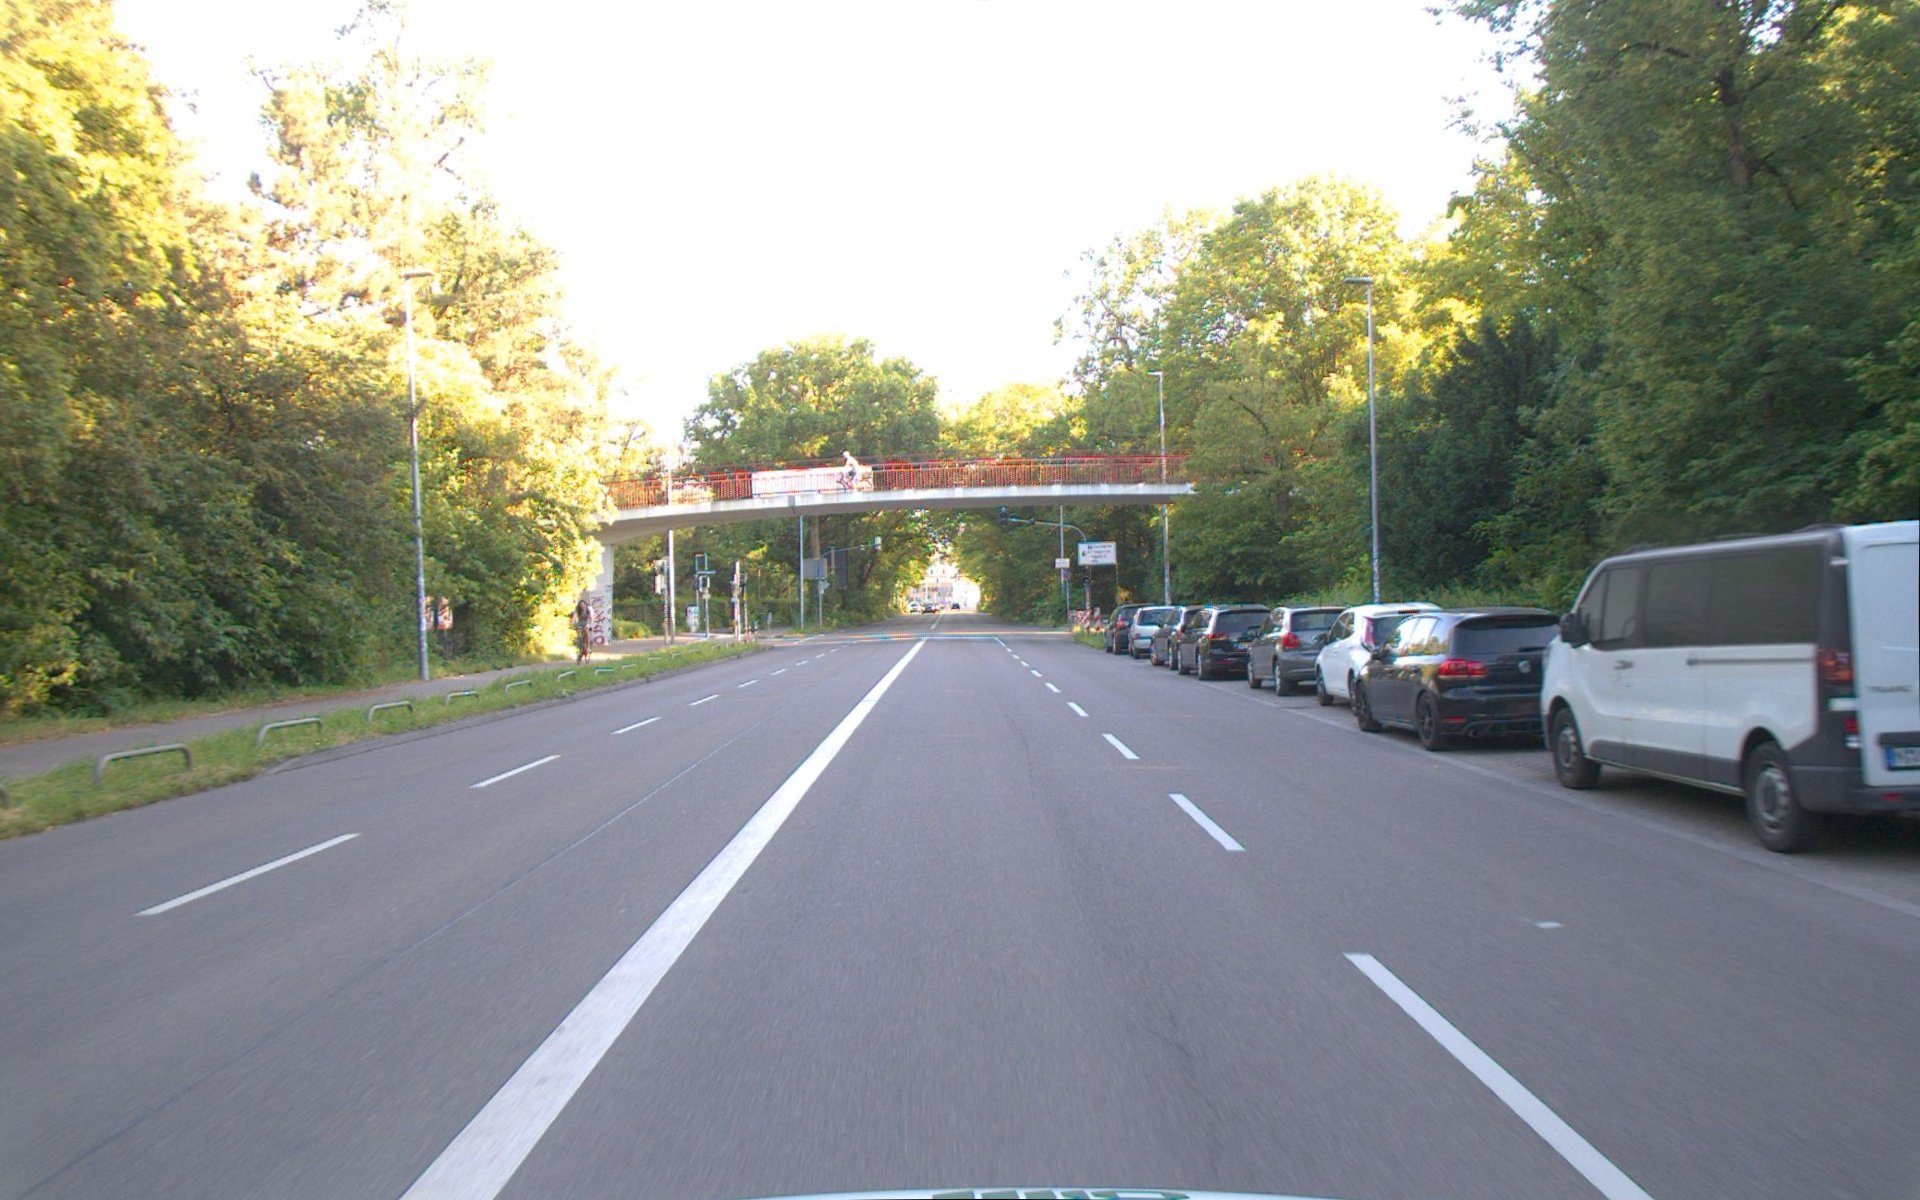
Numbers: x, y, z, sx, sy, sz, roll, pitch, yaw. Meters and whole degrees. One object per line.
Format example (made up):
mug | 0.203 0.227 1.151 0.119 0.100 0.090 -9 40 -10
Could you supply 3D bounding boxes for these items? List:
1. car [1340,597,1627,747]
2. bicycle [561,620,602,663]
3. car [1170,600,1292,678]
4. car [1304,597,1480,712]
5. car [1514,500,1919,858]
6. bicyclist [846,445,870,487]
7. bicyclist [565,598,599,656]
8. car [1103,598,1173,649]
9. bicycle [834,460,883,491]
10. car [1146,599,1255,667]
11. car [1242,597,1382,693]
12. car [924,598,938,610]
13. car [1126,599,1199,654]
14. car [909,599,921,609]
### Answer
car | 5.734 0.724 18.718 1.830 1.431 4.368 -2 0 0
bicycle | -10.551 1.153 46.181 0.697 1.167 1.993 0 -1 -1
car | 5.633 0.780 34.903 1.604 1.479 4.896 -2 0 -2
car | 6.141 0.734 23.891 1.553 1.479 3.798 -2 0 1
car | 5.928 0.434 12.130 1.830 2.016 5.474 -2 0 0
bicyclist | -4.091 -5.400 66.502 0.951 1.614 0.714 0 -1 -2
bicyclist | -10.551 0.758 46.187 0.697 1.586 1.142 0 -1 -1
car | 5.570 0.712 52.238 1.738 1.479 4.388 -2 0 0
bicycle | -4.085 -5.009 66.496 1.947 1.167 0.714 0 -1 -2
car | 5.776 0.770 40.339 1.738 1.479 5.036 -2 0 -2
car | 5.987 0.729 28.543 1.553 1.479 3.943 -2 0 0
car | -3.943 0.594 224.831 1.849 1.533 4.363 -2 0 -1
car | 5.818 0.741 47.830 1.737 1.479 4.015 -2 0 3
car | -7.068 0.644 259.832 1.761 1.533 4.363 -2 0 -1
